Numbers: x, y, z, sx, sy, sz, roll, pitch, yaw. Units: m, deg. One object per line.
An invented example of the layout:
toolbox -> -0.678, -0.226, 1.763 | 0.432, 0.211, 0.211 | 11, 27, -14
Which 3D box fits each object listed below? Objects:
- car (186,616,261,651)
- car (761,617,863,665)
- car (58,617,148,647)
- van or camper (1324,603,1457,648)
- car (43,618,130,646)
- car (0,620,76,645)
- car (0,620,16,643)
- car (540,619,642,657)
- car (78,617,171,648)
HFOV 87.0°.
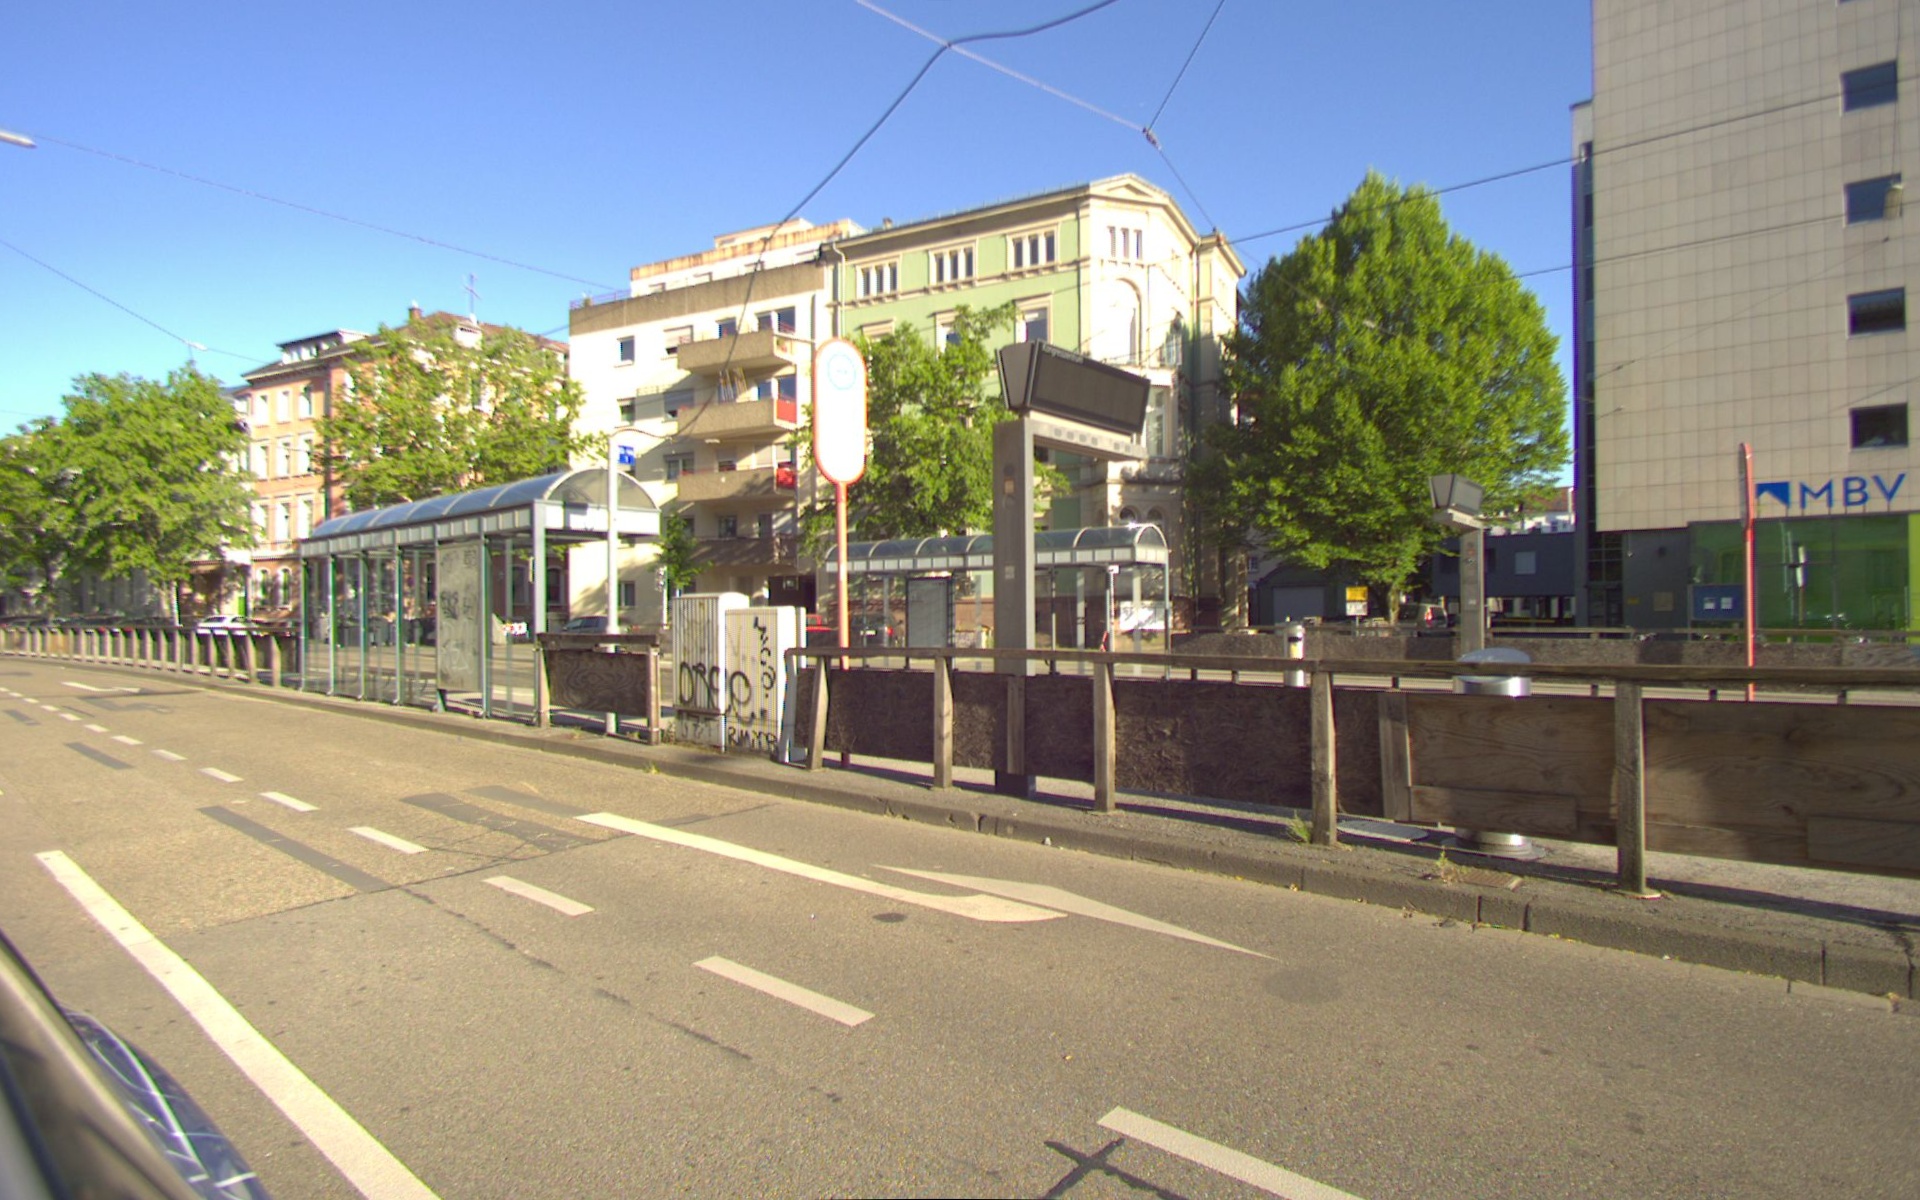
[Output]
car -> -39.515, 1.764, 54.375 | 1.966, 1.736, 4.012 | 0, 1, -15
car -> -4.995, 1.371, 34.691 | 1.763, 1.547, 3.763 | -1, -2, 23
car -> -51.287, 1.902, 60.630 | 2.001, 1.697, 3.942 | -2, -2, 44
van or camper -> 15.512, 0.888, 36.548 | 3.998, 1.417, 1.943 | 2, 0, 41
car -> -54.295, 1.948, 62.959 | 2.001, 1.697, 3.942 | -2, -2, 44
car -> -59.604, 2.075, 65.270 | 3.811, 1.604, 2.001 | 1, -2, -45
car -> -68.093, 2.209, 70.115 | 2.001, 1.604, 3.812 | -2, -2, 44
car -> -13.996, 1.421, 38.395 | 3.498, 1.406, 1.602 | -1, -2, 22
car -> -47.970, 1.838, 58.157 | 2.001, 1.697, 3.942 | -2, -2, 44
